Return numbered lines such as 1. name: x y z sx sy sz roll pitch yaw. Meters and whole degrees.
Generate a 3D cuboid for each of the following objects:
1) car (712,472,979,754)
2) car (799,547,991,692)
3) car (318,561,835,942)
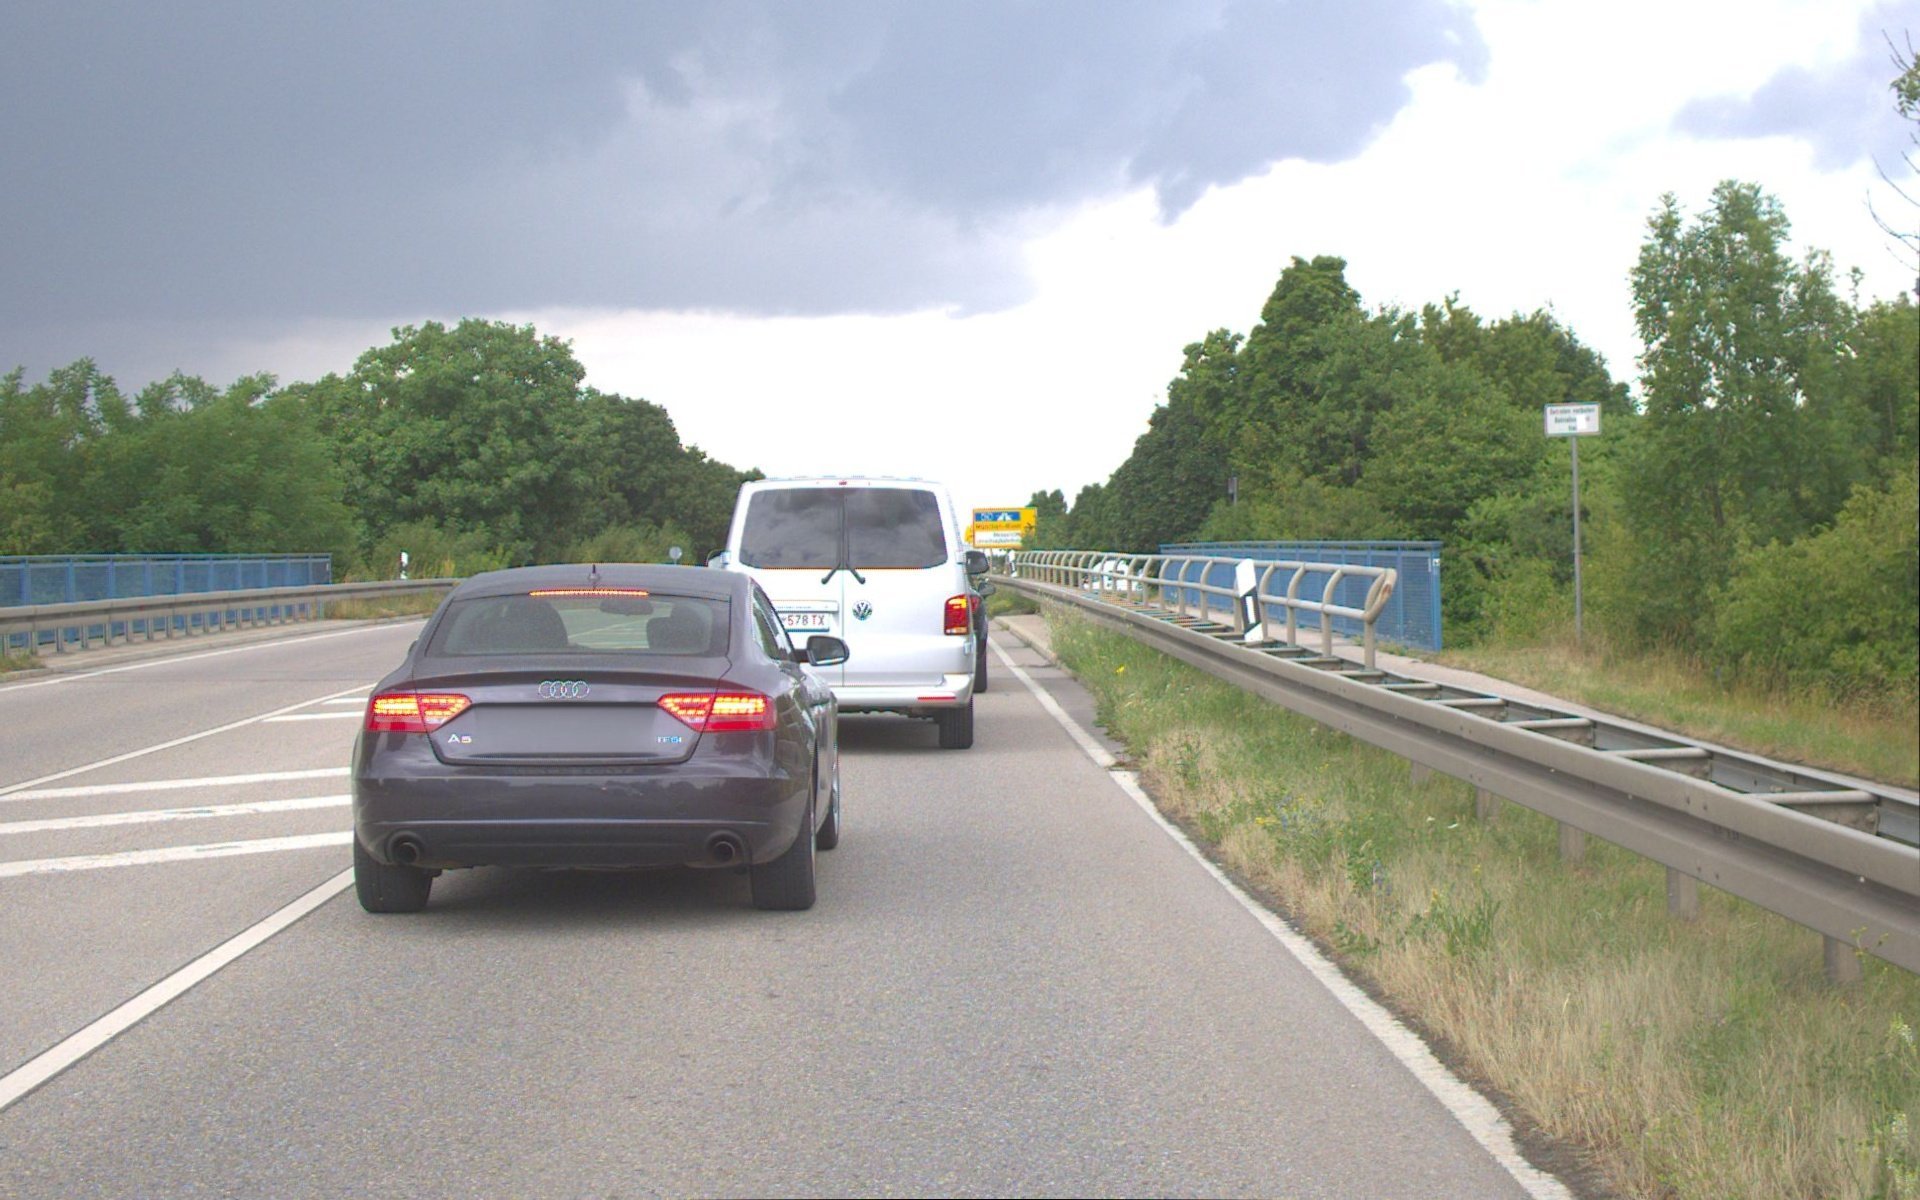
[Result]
1. car: -0.829 0.064 25.817 1.828 1.929 4.000 -1 1 -1
2. car: -0.615 0.154 34.872 1.821 1.376 4.072 0 1 0
3. car: -1.496 0.538 14.789 1.821 1.376 4.072 -1 1 -1
